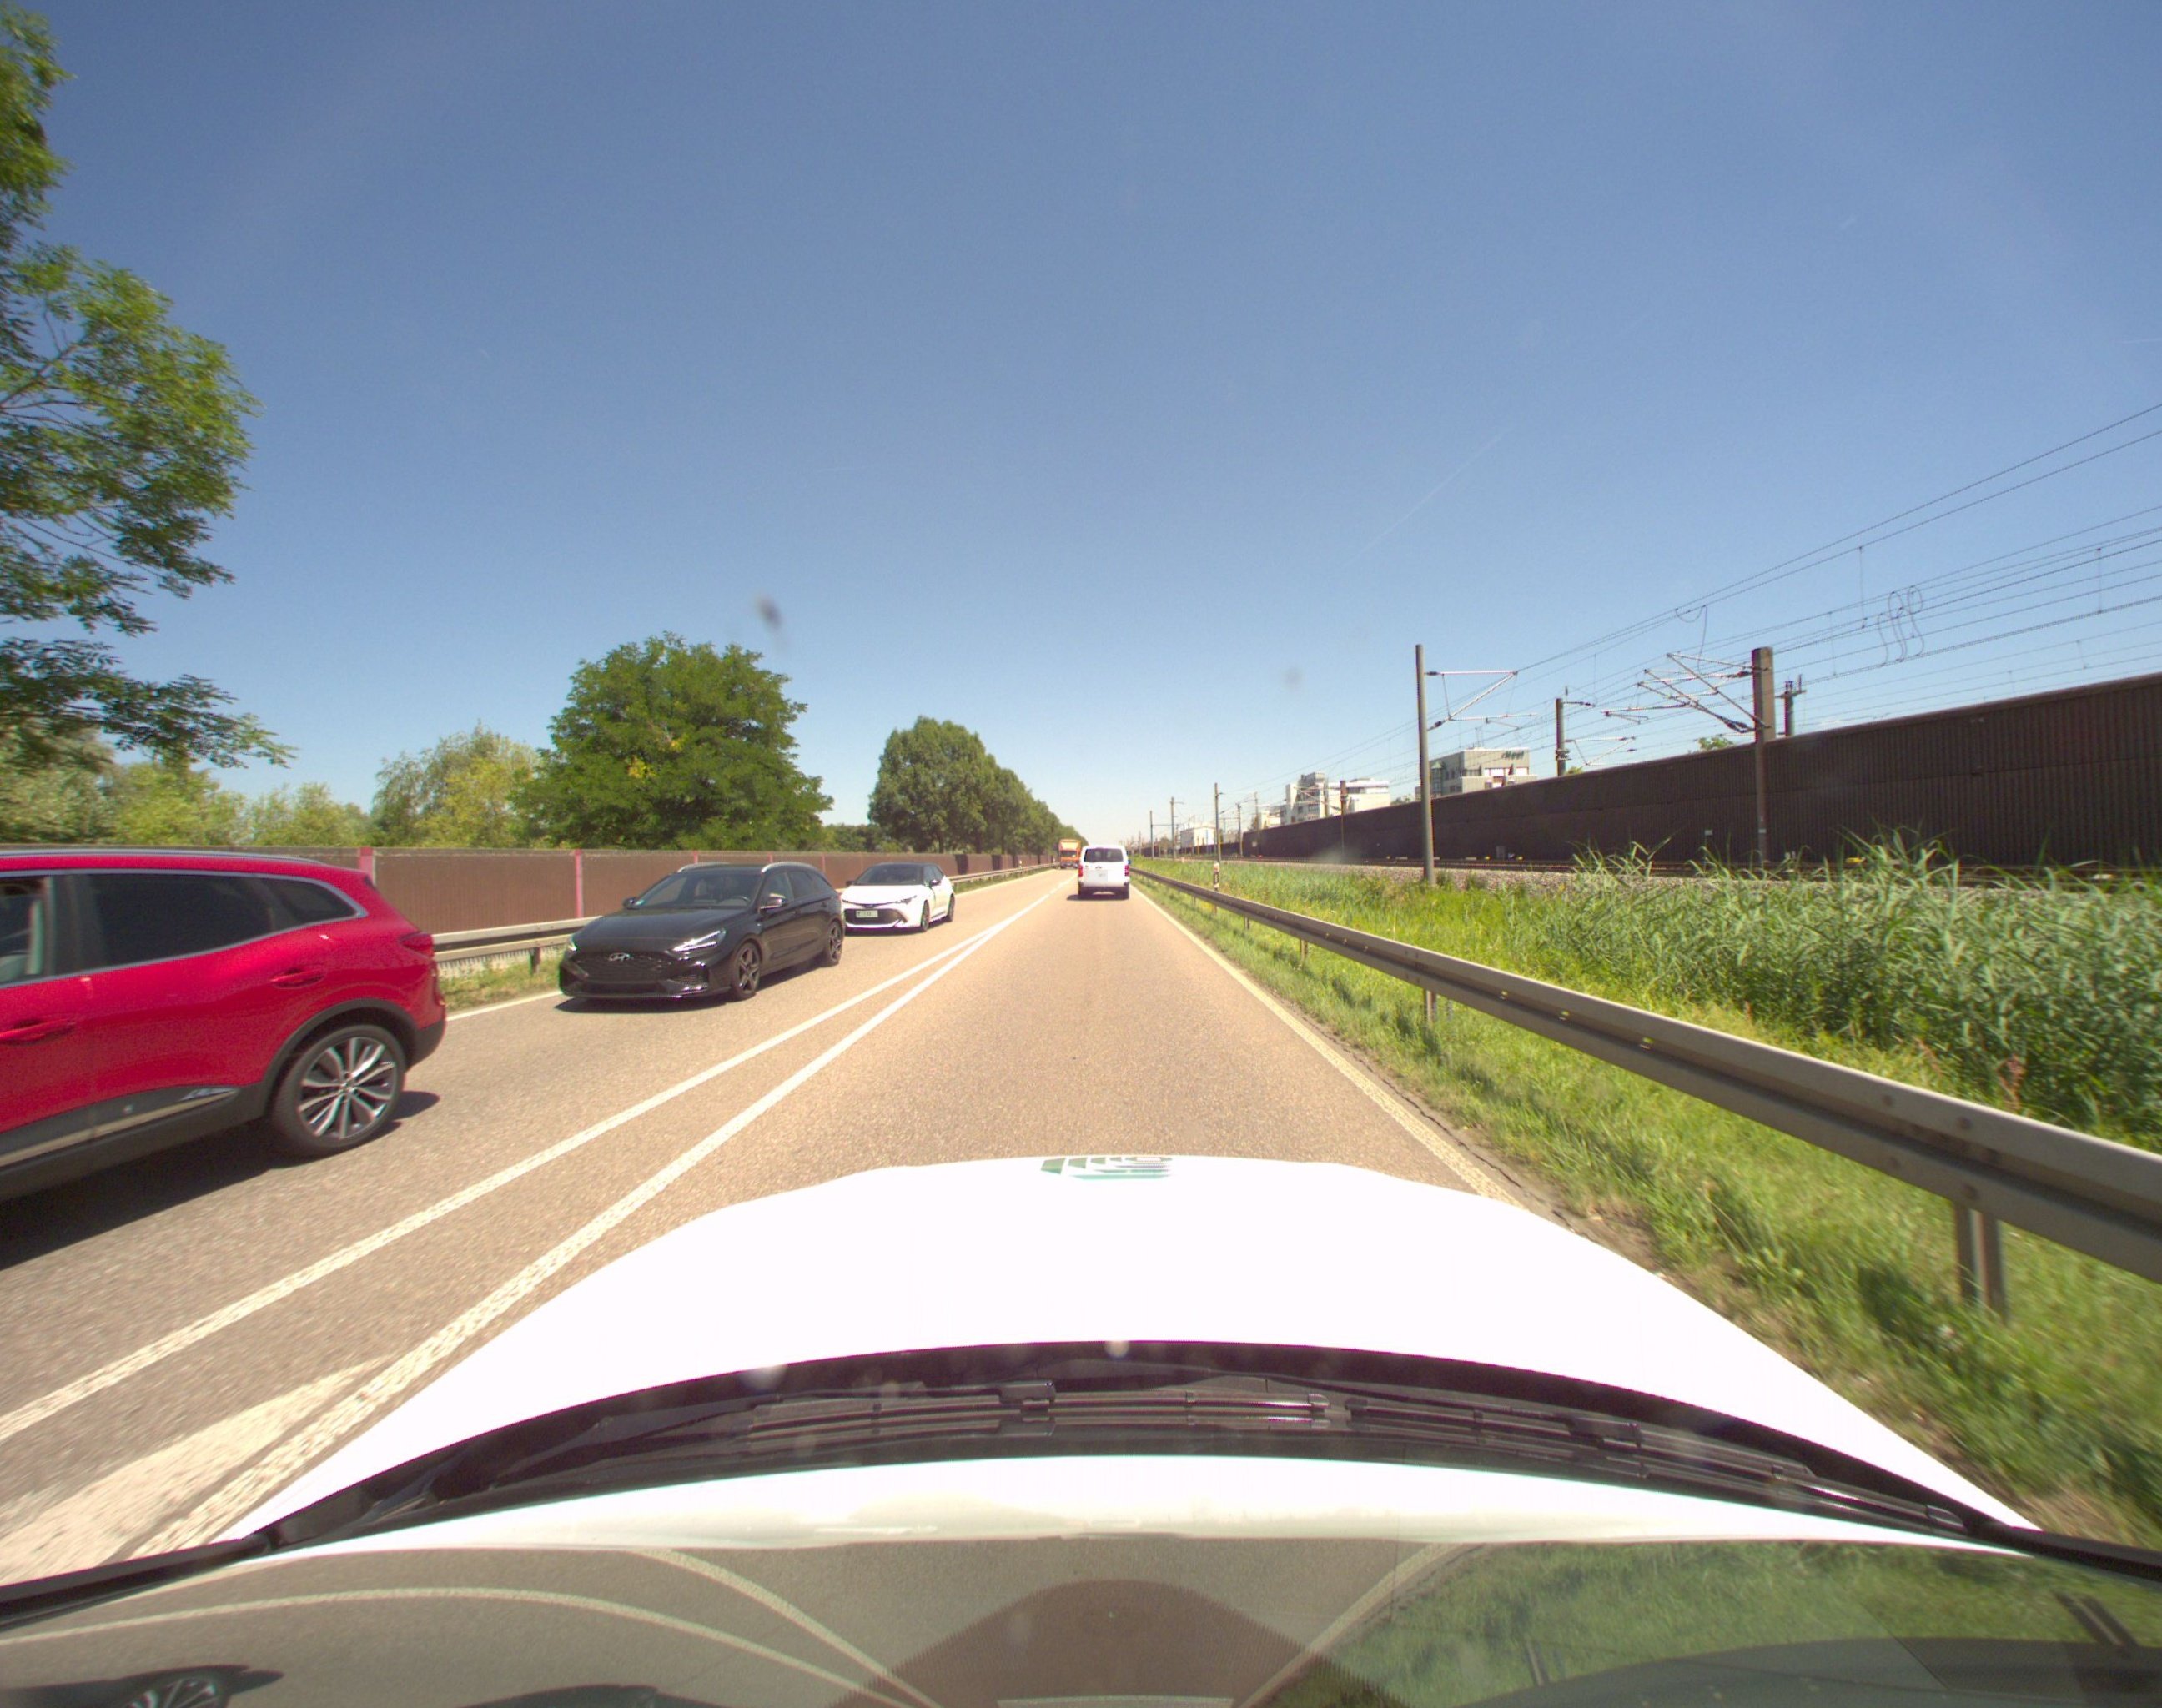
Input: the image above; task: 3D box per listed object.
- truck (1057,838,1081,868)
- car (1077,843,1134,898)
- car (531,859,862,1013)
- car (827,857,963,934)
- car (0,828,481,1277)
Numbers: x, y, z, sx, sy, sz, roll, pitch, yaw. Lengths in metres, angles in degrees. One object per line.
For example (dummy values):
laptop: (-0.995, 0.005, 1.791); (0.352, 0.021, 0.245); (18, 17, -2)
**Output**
truck: (-1.581, -0.064, 110.811); (2.782, 3.840, 9.326); (-1, 0, 1)
car: (0.903, 0.596, 30.643); (1.939, 1.881, 4.882); (-1, -1, 1)
car: (-4.320, 0.801, 10.122); (1.678, 1.460, 4.620); (0, 0, 4)
car: (-3.878, 0.806, 17.773); (1.678, 1.460, 4.619); (0, 0, 3)
car: (-4.808, 0.731, 3.018); (1.747, 1.631, 4.284); (-1, 0, 4)
